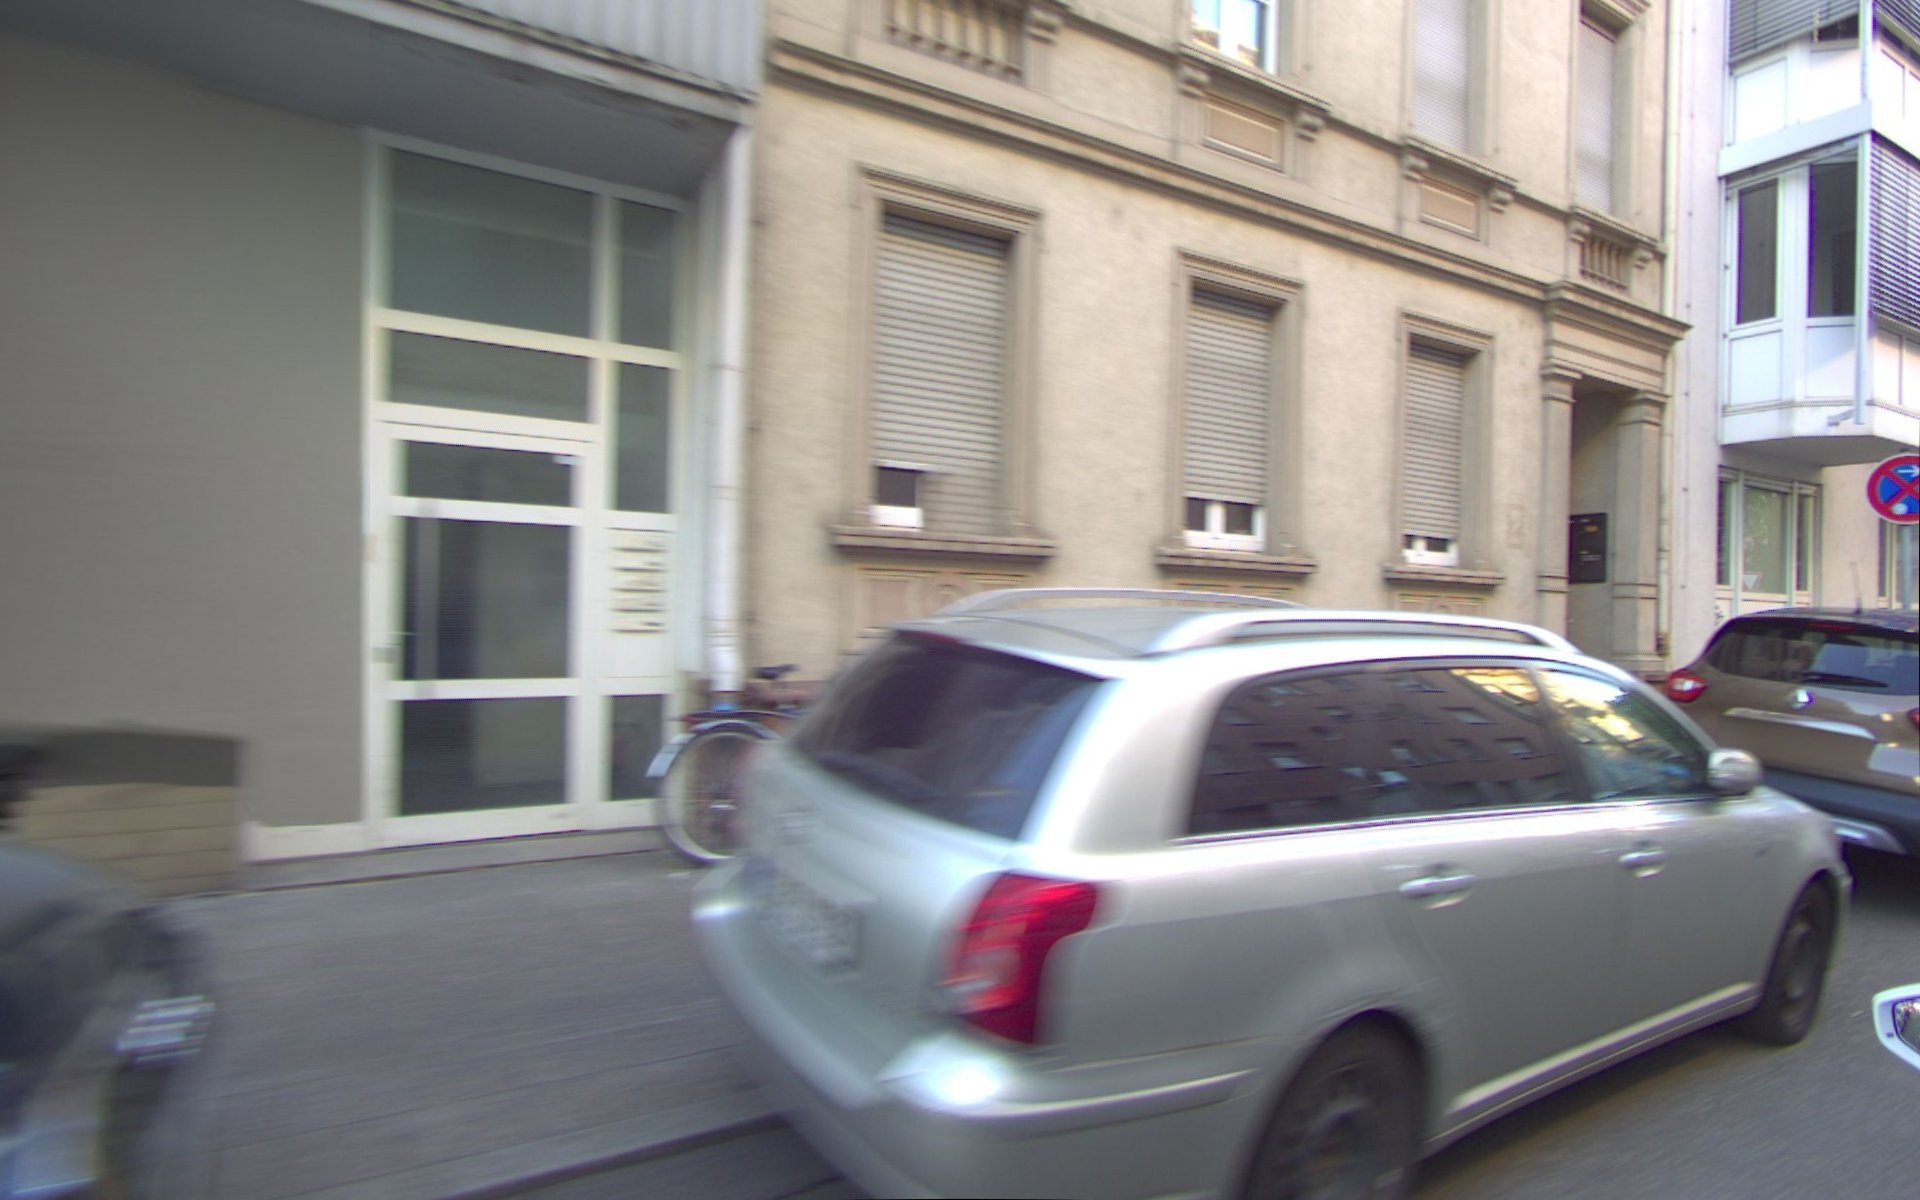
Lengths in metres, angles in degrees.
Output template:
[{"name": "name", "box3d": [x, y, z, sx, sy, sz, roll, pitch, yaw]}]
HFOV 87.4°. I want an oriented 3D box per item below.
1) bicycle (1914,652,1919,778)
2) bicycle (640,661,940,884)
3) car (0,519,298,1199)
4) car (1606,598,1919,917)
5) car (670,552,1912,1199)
[{"name": "bicycle", "box3d": [10.282, 1.122, 9.931, 2.238, 1.203, 0.593, 1, -1, -29]}, {"name": "bicycle", "box3d": [-0.848, 0.841, 5.239, 1.525, 1.022, 0.290, 1, -1, -30]}, {"name": "car", "box3d": [-3.275, 0.656, 0.803, 4.441, 1.559, 1.782, 1, -1, -30]}, {"name": "car", "box3d": [6.232, 0.837, 6.622, 4.025, 1.597, 1.781, 1, -1, -32]}, {"name": "car", "box3d": [1.419, 0.755, 3.543, 4.385, 1.559, 1.781, 1, -1, -32]}]
